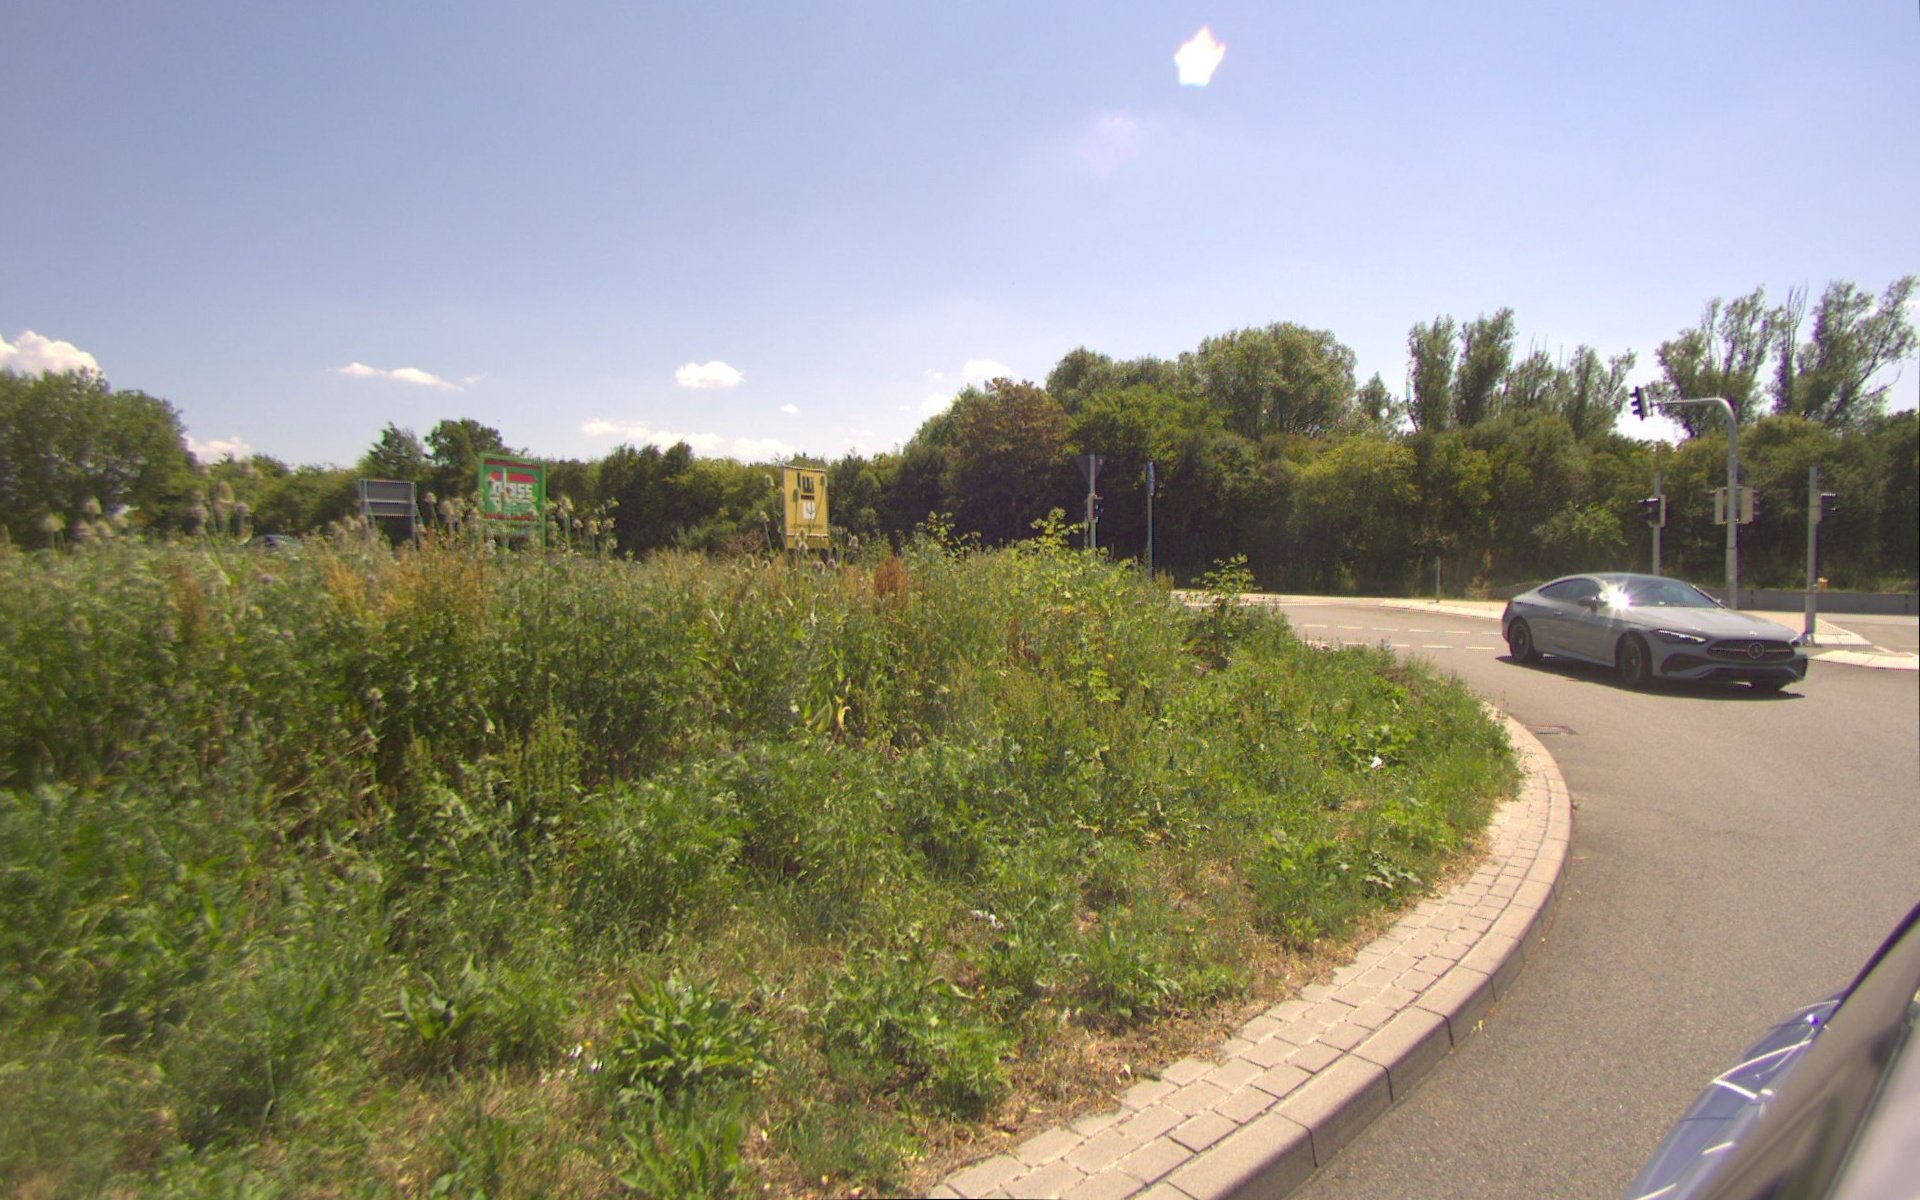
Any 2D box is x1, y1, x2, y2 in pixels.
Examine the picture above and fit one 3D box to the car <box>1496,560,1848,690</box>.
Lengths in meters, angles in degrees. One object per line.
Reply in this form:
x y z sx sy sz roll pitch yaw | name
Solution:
9.644 0.220 14.274 1.887 1.459 4.482 -1 3 2 | car
